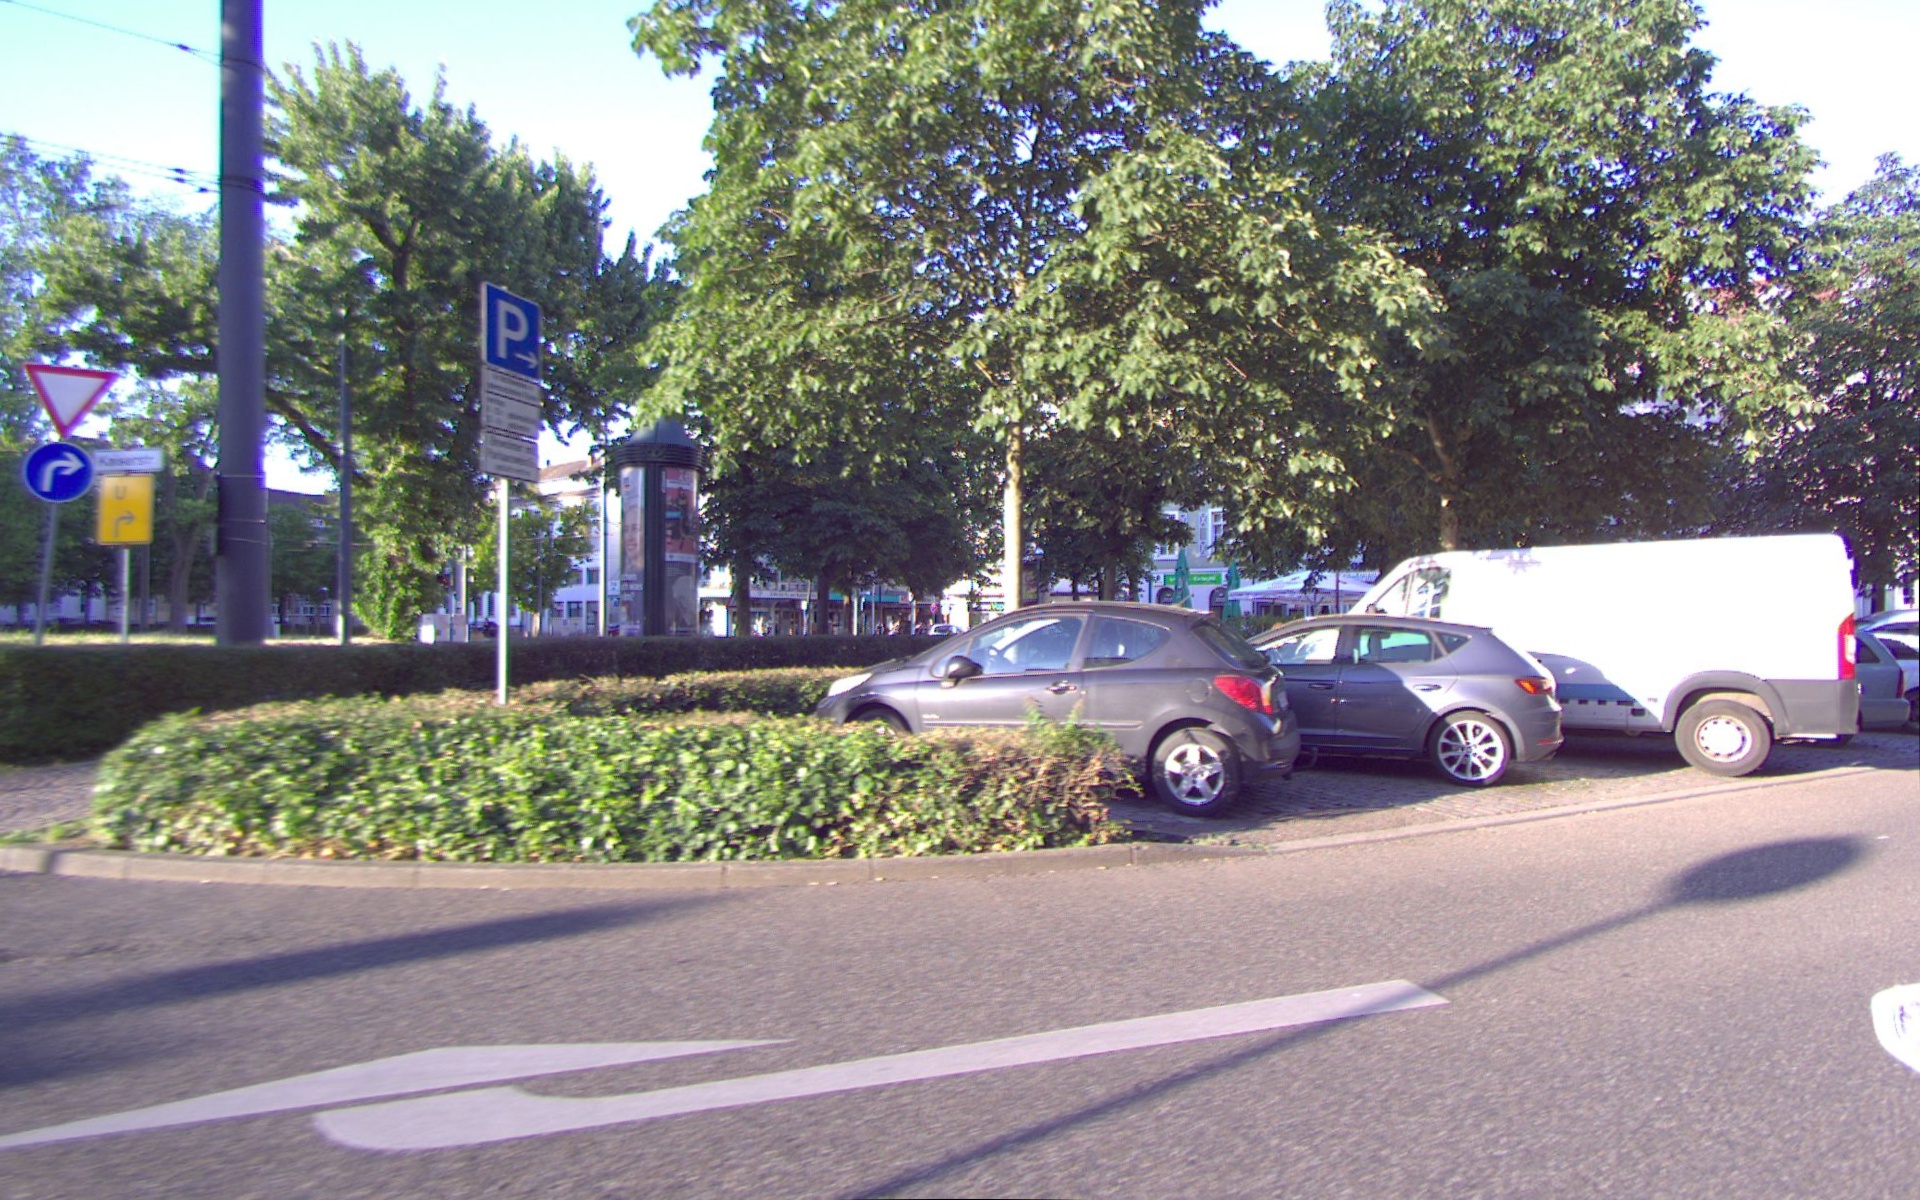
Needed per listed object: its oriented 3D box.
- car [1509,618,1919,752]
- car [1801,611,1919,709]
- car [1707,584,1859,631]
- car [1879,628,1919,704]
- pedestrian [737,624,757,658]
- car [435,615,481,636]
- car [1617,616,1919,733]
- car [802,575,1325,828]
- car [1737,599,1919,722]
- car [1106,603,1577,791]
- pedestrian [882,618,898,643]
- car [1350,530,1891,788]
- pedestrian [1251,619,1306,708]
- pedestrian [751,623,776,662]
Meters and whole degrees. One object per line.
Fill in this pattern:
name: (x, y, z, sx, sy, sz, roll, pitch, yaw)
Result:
car: (9.628, 1.017, 13.207, 3.920, 1.487, 1.883, 1, 0, 19)
car: (18.227, 1.123, 18.420, 3.924, 1.718, 1.748, 1, 0, 25)
car: (31.535, 0.288, 38.681, 4.359, 1.699, 1.954, 0, 0, 35)
car: (21.209, 1.336, 20.025, 3.930, 1.505, 1.996, 0, -1, 31)
pedestrian: (-11.039, 2.130, 52.073, 0.814, 1.722, 0.740, -1, 1, -30)
car: (-43.369, 2.181, 86.768, 3.935, 1.639, 1.993, 1, 0, 37)
car: (12.355, 1.050, 15.018, 3.922, 1.512, 1.849, 1, 0, 22)
car: (0.833, 0.648, 8.128, 3.811, 1.603, 1.801, 1, 0, 26)
car: (15.472, 0.965, 16.493, 3.924, 1.903, 1.869, 1, 0, 25)
car: (3.572, 0.812, 9.845, 3.922, 1.506, 1.832, 1, 0, 21)
pedestrian: (-5.562, 2.428, 79.877, 0.879, 1.947, 0.876, 0, 1, 37)
car: (6.931, 0.509, 11.073, 4.535, 2.281, 2.197, 1, 0, 34)
pedestrian: (4.870, 0.954, 15.337, 0.734, 1.294, 0.661, 1, 0, 23)
pedestrian: (-9.832, 2.118, 50.283, 0.984, 1.865, 0.857, -1, 1, -30)
